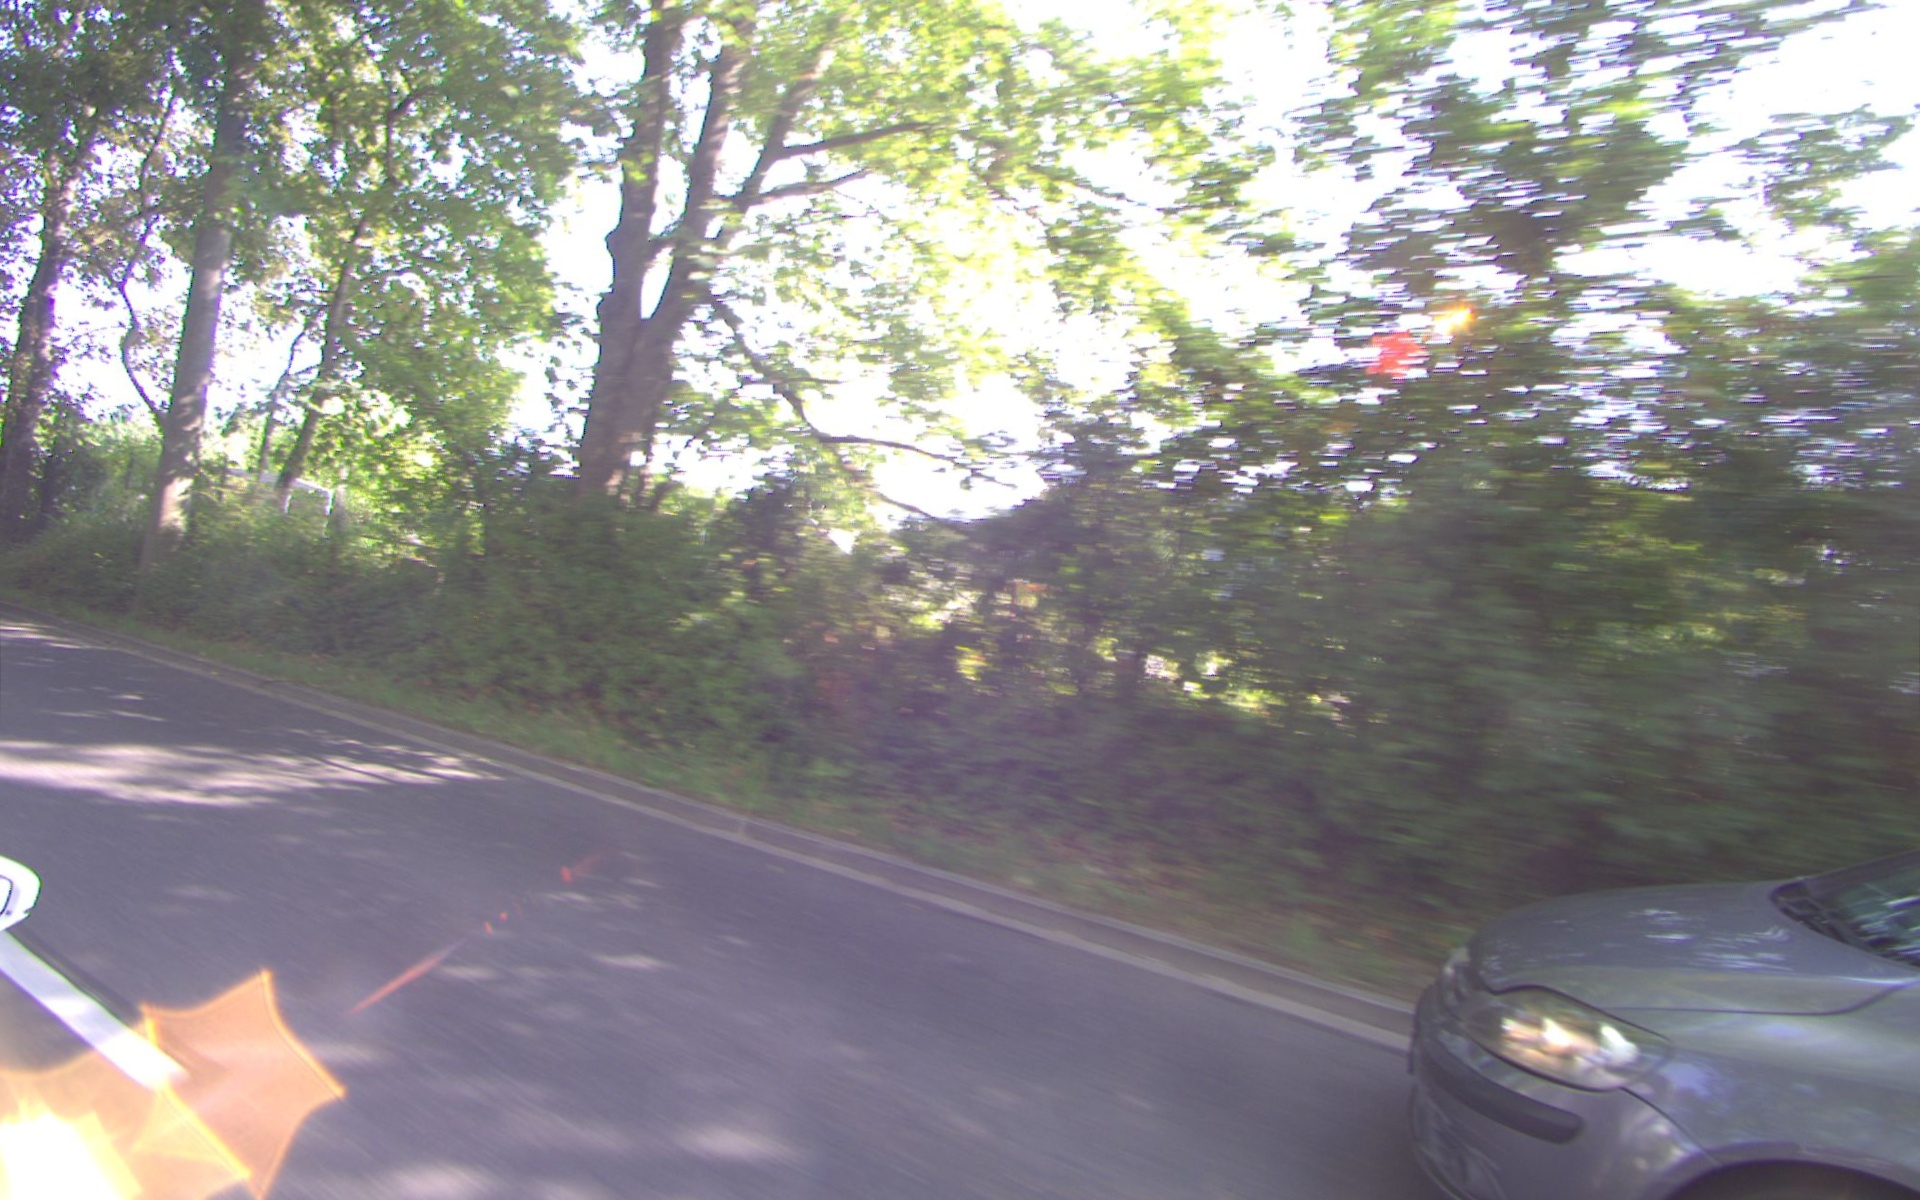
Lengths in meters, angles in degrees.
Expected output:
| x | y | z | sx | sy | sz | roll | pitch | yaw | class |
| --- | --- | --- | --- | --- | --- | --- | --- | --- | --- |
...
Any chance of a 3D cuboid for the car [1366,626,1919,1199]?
| x | y | z | sx | sy | sz | roll | pitch | yaw | class |
| --- | --- | --- | --- | --- | --- | --- | --- | --- | --- |
| 3.061 | 1.117 | 2.078 | 3.834 | 1.574 | 1.649 | 6 | -3 | 31 | car |
